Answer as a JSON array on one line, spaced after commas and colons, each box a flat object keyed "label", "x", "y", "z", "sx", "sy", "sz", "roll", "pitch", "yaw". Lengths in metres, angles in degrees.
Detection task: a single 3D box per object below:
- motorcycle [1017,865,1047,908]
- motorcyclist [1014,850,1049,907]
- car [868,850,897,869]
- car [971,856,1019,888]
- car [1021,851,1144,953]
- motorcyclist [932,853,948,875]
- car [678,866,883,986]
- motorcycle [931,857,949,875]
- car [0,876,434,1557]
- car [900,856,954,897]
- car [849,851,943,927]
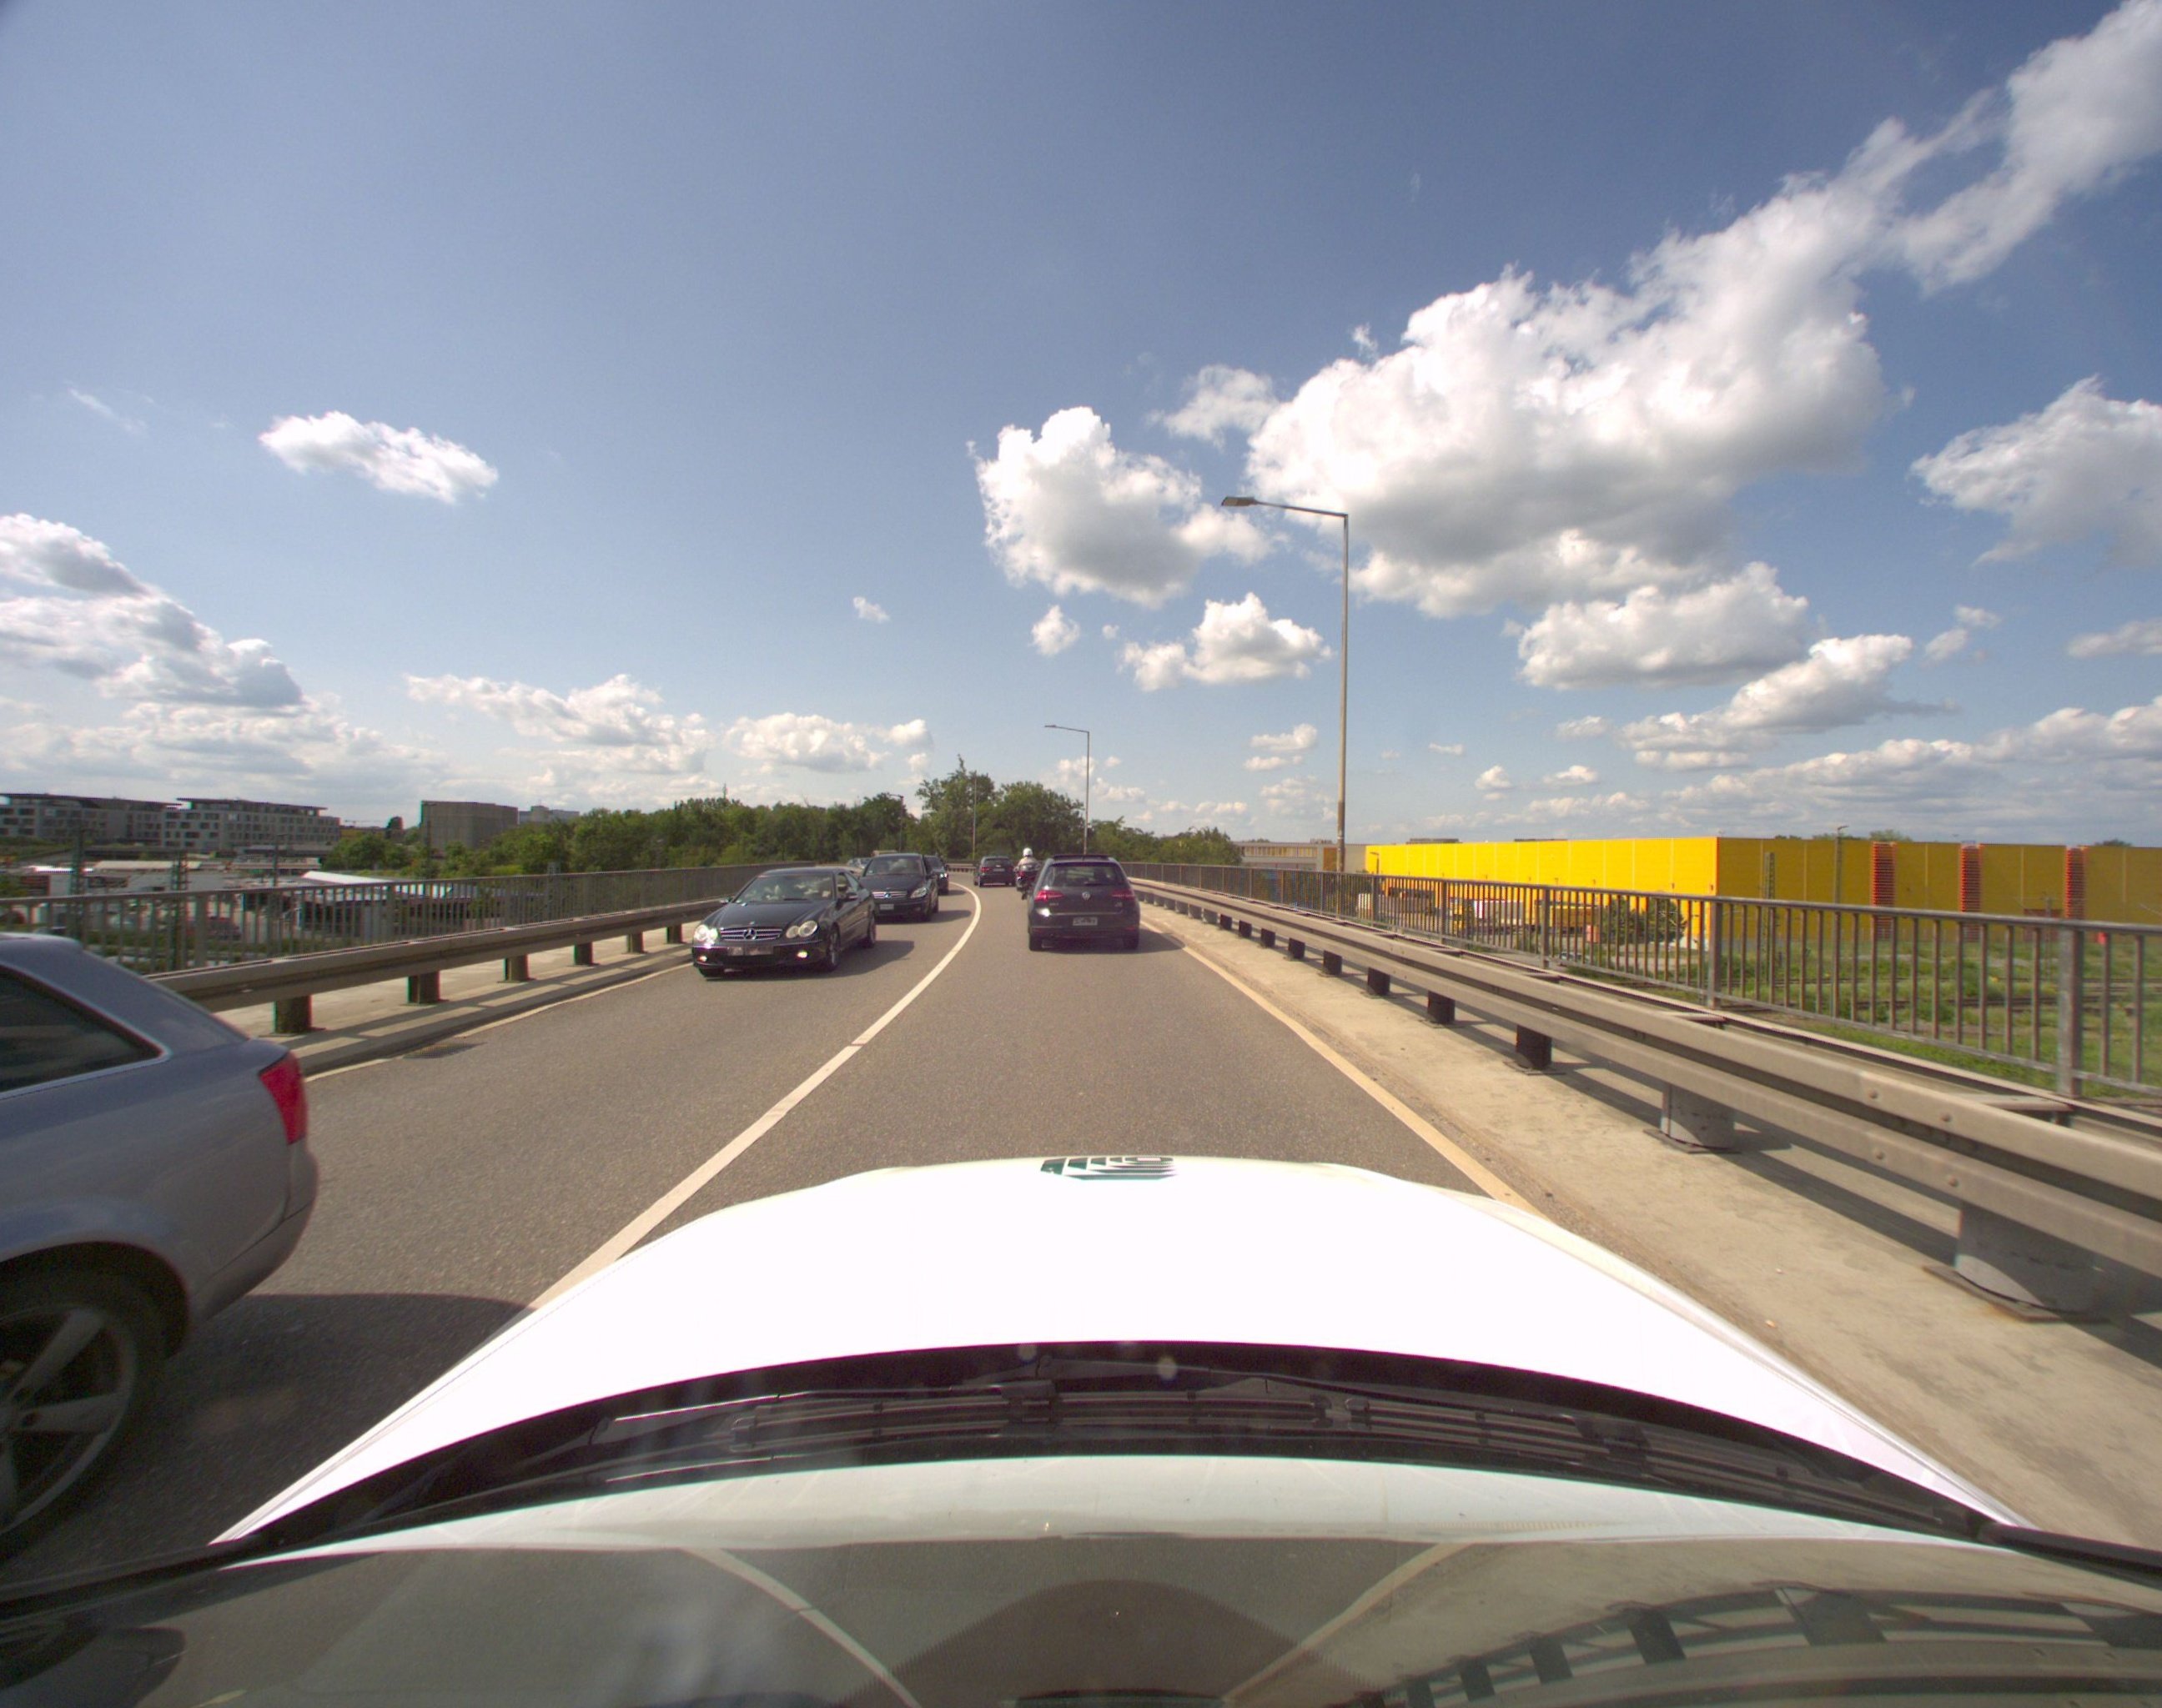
[{"label": "motorcycle", "x": -1.433, "y": 0.908, "z": 23.549, "sx": 0.788, "sy": 1.132, "sz": 2.395, "roll": -1, "pitch": 0, "yaw": -5}, {"label": "motorcyclist", "x": -1.450, "y": 0.694, "z": 23.742, "sx": 0.964, "sy": 1.620, "sz": 1.123, "roll": 0, "pitch": 0, "yaw": -5}, {"label": "car", "x": -15.299, "y": 0.409, "z": 62.675, "sx": 1.881, "sy": 1.401, "sz": 3.864, "roll": -2, "pitch": 0, "yaw": -17}, {"label": "car", "x": -4.062, "y": 0.825, "z": 38.037, "sx": 1.684, "sy": 1.388, "sz": 3.720, "roll": -1, "pitch": -1, "yaw": -15}, {"label": "car", "x": -0.110, "y": 0.721, "z": 13.970, "sx": 1.641, "sy": 1.479, "sz": 3.862, "roll": -1, "pitch": 0, "yaw": -7}, {"label": "motorcyclist", "x": -10.454, "y": 0.706, "z": 60.345, "sx": 0.969, "sy": 1.596, "sz": 1.117, "roll": 0, "pitch": 0, "yaw": -20}, {"label": "car", "x": -4.162, "y": 0.904, "z": 12.018, "sx": 1.628, "sy": 1.345, "sz": 4.247, "roll": -2, "pitch": 0, "yaw": -4}, {"label": "motorcycle", "x": -10.412, "y": 0.887, "z": 60.205, "sx": 0.890, "sy": 1.247, "sz": 2.383, "roll": -1, "pitch": 0, "yaw": -20}, {"label": "car", "x": -3.317, "y": 0.832, "z": 0.778, "sx": 1.759, "sy": 1.460, "sz": 4.301, "roll": -2, "pitch": 0, "yaw": 3}, {"label": "car", "x": -6.042, "y": 0.822, "z": 31.682, "sx": 1.878, "sy": 1.442, "sz": 3.869, "roll": -2, "pitch": 0, "yaw": -13}, {"label": "car", "x": -4.400, "y": 0.754, "z": 19.929, "sx": 1.681, "sy": 1.596, "sz": 4.274, "roll": -2, "pitch": 0, "yaw": -6}]
